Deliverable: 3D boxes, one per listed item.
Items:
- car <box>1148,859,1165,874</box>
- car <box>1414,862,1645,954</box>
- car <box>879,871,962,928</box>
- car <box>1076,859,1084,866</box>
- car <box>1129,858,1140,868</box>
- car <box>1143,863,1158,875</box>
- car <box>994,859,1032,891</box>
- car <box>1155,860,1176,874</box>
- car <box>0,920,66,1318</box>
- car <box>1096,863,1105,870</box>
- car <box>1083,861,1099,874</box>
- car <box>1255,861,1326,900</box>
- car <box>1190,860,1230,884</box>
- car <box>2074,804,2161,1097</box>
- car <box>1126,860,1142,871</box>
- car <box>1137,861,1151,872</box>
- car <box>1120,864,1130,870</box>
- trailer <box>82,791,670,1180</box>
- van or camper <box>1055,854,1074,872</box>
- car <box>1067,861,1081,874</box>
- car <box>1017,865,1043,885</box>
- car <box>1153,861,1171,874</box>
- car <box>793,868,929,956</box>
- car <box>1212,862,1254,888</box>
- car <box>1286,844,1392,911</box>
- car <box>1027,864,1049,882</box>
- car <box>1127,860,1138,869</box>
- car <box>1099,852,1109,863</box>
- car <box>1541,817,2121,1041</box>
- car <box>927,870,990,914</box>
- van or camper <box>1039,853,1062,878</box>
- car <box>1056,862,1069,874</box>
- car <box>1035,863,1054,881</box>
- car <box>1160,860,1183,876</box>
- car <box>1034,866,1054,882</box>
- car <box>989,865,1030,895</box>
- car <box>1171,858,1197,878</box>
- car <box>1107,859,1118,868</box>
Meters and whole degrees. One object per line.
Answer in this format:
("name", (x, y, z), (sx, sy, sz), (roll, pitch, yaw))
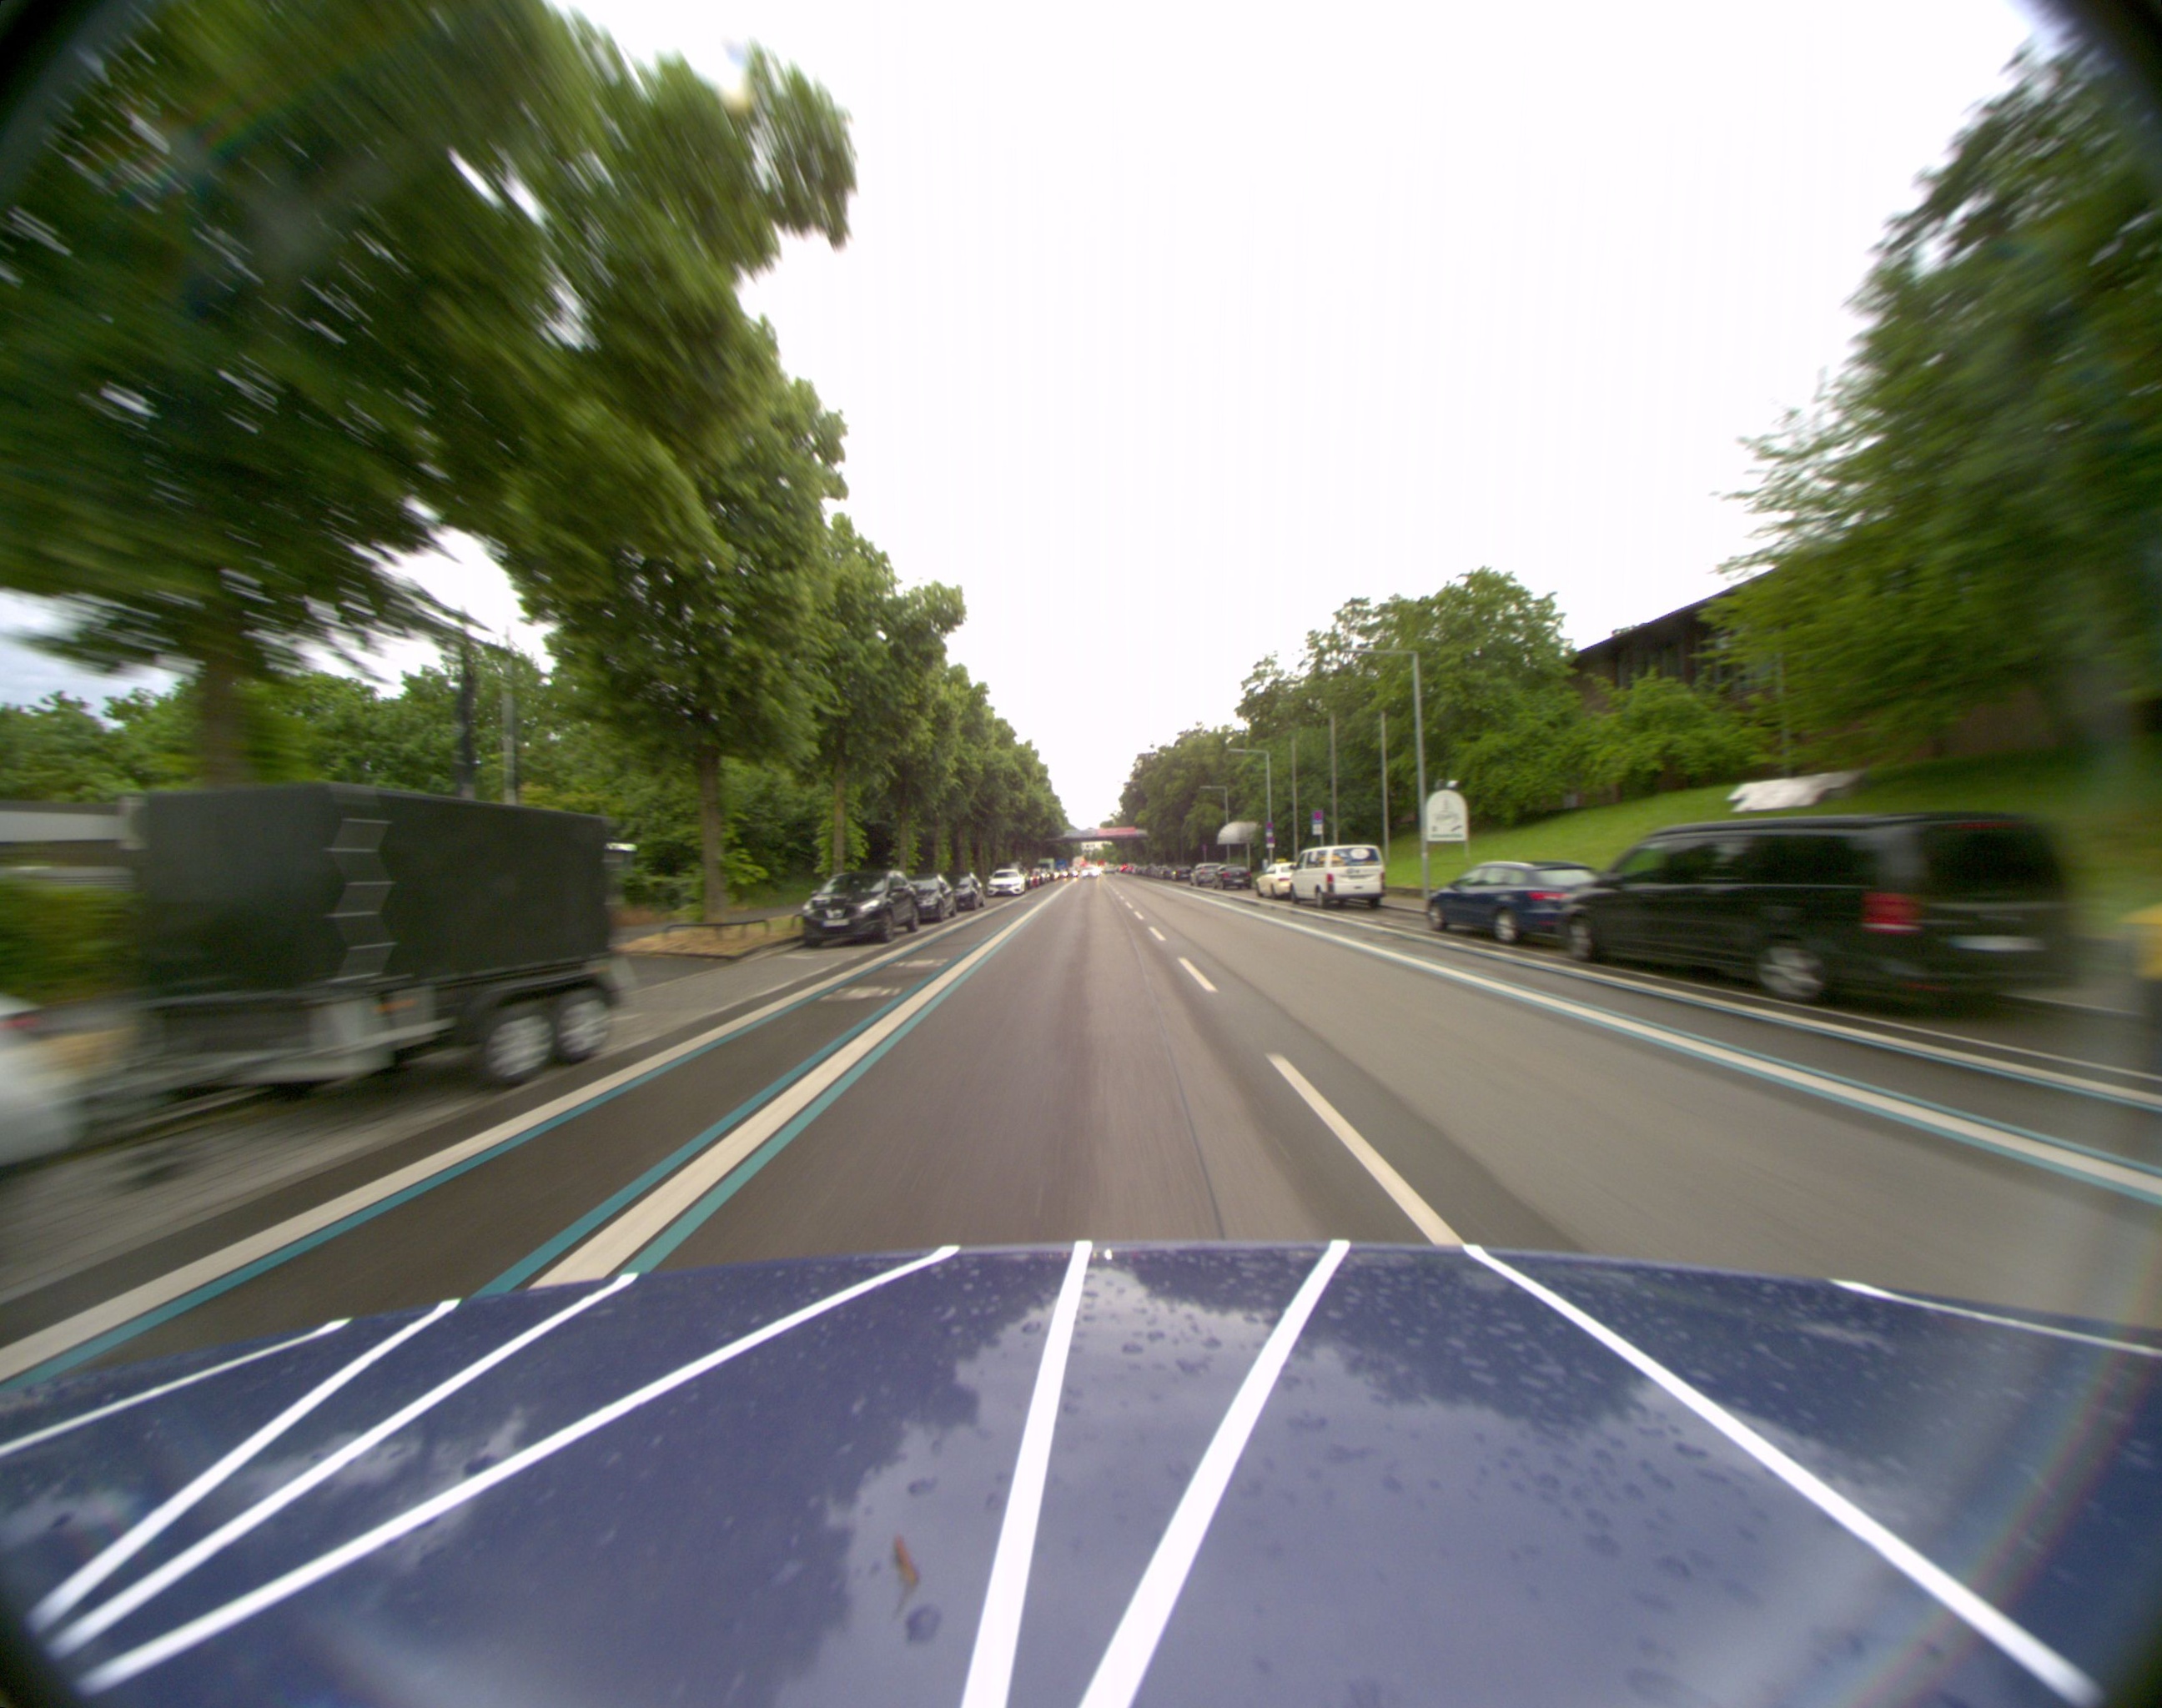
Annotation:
("car", (9.656, 1.558, 96.991), (1.822, 1.848, 3.744), (-1, -1, 1))
("car", (8.244, 0.895, 14.556), (1.688, 1.450, 4.611), (-1, 0, 0))
("car", (-4.769, 1.313, 23.047), (1.694, 1.418, 3.999), (-2, 0, -1))
("car", (-0.284, 2.643, 241.213), (2.326, 2.342, 5.003), (-1, 0, 1))
("car", (10.841, 1.856, 153.385), (1.822, 1.940, 3.743), (-1, -1, -1))
("car", (9.345, 1.993, 102.548), (1.822, 1.603, 3.744), (-1, -1, 1))
("car", (-4.293, 1.298, 48.664), (1.847, 1.865, 4.616), (-3, 0, 1))
("car", (9.410, 1.484, 84.832), (1.822, 1.560, 4.235), (-1, -1, 1))
("car", (-5.044, 1.095, 0.953), (1.761, 1.575, 4.412), (-2, 0, -5))
("car", (4.342, 2.748, 168.130), (1.822, 1.586, 3.743), (-1, -1, -1))
("car", (1.266, 1.636, 91.958), (1.828, 1.453, 3.882), (-3, 0, 1))
("car", (8.488, 1.021, 31.170), (1.731, 1.439, 4.595), (-1, 0, 2))
("car", (8.428, 1.170, 49.994), (1.795, 1.459, 4.328), (-1, 0, -1))
("car", (7.983, 0.608, 2.942), (1.998, 1.902, 4.845), (0, 0, 1))
("car", (8.883, 2.001, 127.795), (1.824, 1.732, 3.740), (-1, -1, -11))
("car", (9.731, 1.964, 117.304), (1.822, 1.732, 3.744), (-1, -1, 0))
("car", (9.643, 2.819, 166.459), (1.870, 1.280, 3.999), (-2, 0, -2))
("trailer", (-5.156, 0.788, 6.297), (1.350, 2.256, 3.564), (-3, 0, 2))
("van or camper", (-2.589, 1.317, 118.617), (2.642, 2.618, 5.743), (-2, 0, 1))
("car", (-0.933, 1.854, 104.422), (1.733, 1.578, 3.671), (-3, 0, 1))
("car", (-3.947, 1.630, 59.335), (1.581, 1.381, 4.189), (-3, 0, 1))
("car", (9.660, 1.608, 91.028), (1.822, 1.471, 4.127), (-1, -1, 1))
("car", (-4.868, 1.217, 17.489), (1.694, 1.562, 4.339), (-4, 0, 1))
("car", (8.627, 1.148, 43.350), (1.680, 1.363, 3.586), (-1, 0, 1))
("car", (8.379, 0.720, 25.158), (1.877, 1.965, 4.735), (-1, 0, 0))
("car", (-3.729, 1.619, 66.885), (1.581, 1.381, 4.189), (-3, 0, 1))
("car", (9.753, 2.053, 144.170), (1.822, 1.586, 3.743), (-1, -1, -1))
("car", (7.902, 1.316, 264.878), (3.330, 3.696, 6.592), (-1, 0, 1))
("car", (8.034, 0.661, 9.146), (1.881, 1.909, 5.204), (-1, 0, 1))
("car", (-4.609, 1.396, 29.065), (1.689, 1.374, 4.083), (-3, 0, 0))
("van or camper", (-3.467, 1.284, 87.700), (2.129, 2.694, 6.847), (-3, 0, 1))
("car", (-2.692, 2.054, 112.319), (1.733, 1.578, 3.671), (-3, 0, 1))
("car", (-3.733, 1.821, 77.760), (1.581, 1.577, 3.671), (-3, 0, 1))
("car", (9.160, 1.454, 77.323), (1.822, 1.533, 4.544), (-1, -1, 1))
("car", (-3.520, 1.872, 72.427), (1.581, 1.381, 3.671), (-3, 0, 1))
("car", (-3.995, 1.448, 43.109), (1.824, 1.477, 4.292), (-2, 0, 1))
("car", (9.233, 1.251, 68.208), (1.822, 1.755, 4.001), (-1, -1, 1))
("car", (6.011, 1.865, 145.150), (1.828, 1.453, 3.883), (-3, -2, 1))
